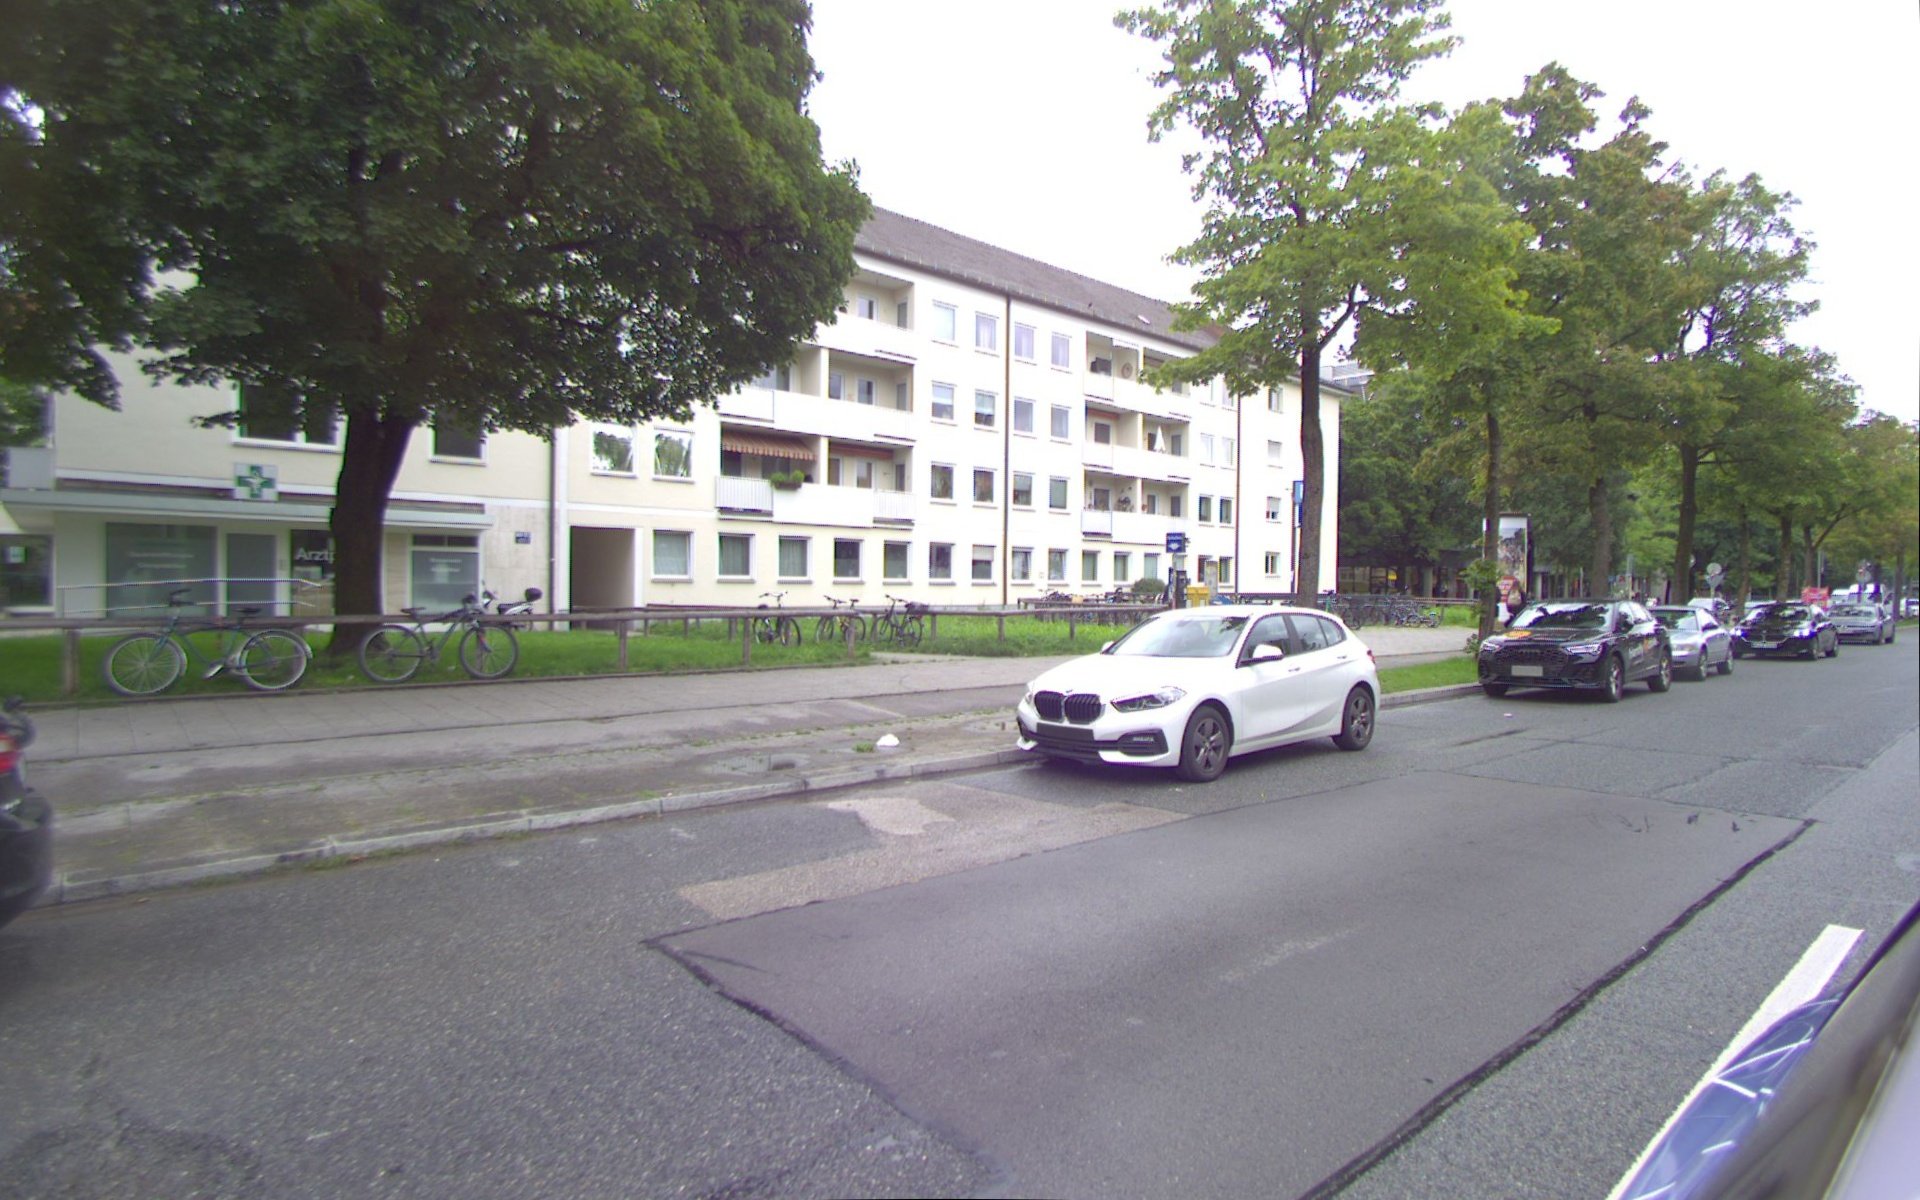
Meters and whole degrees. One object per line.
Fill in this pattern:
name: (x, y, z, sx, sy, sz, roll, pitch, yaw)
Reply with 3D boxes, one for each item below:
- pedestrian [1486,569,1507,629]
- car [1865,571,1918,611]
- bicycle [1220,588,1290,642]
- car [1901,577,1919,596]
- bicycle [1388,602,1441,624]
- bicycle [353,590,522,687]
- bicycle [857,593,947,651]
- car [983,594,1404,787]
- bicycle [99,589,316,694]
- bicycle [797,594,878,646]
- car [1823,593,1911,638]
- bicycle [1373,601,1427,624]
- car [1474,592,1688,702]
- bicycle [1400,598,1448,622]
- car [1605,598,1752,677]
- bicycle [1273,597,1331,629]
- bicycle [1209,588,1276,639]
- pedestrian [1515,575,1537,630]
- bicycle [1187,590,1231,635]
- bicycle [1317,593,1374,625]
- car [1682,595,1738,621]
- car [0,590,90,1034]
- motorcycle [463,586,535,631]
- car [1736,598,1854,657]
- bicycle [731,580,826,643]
pedestrian: (16.177, -0.042, 30.504, 0.555, 1.778, 0.651, 1, 0, 29)
car: (60.835, -0.614, 66.059, 4.912, 2.485, 1.997, -1, 0, -41)
bicycle: (6.905, 0.324, 23.616, 2.039, 1.203, 0.545, 0, 1, -41)
car: (125.513, -1.803, 133.273, 4.915, 2.485, 1.996, 0, 1, -43)
bicycle: (15.561, 0.442, 34.701, 0.490, 0.704, 1.595, 0, 1, -45)
bicycle: (-6.197, 0.426, 12.066, 1.738, 1.068, 0.470, -1, 0, -42)
bicycle: (-1.191, 0.418, 20.456, 0.653, 1.081, 2.027, 0, 1, -45)
car: (2.391, 0.694, 9.748, 4.212, 1.455, 1.824, 0, -1, -41)
bicycle: (-7.935, 0.401, 10.738, 1.820, 1.028, 0.448, 0, 1, -41)
bicycle: (-2.710, 0.414, 22.228, 0.653, 1.081, 2.027, 0, 1, -45)
car: (32.201, 0.511, 35.888, 4.225, 1.487, 1.825, 0, 1, -41)
bicycle: (14.868, 0.421, 34.201, 0.490, 0.645, 1.596, 0, 4, -45)
car: (9.996, 0.638, 16.165, 4.086, 1.530, 1.824, 0, 1, -42)
bicycle: (16.115, 0.334, 35.160, 0.490, 0.722, 1.389, 0, 3, -45)
car: (14.306, 0.666, 20.083, 3.860, 1.397, 1.615, 0, 1, -43)
bicycle: (10.270, 0.380, 30.406, 0.490, 0.927, 1.595, 0, 1, -45)
bicycle: (6.952, 0.311, 24.866, 2.039, 1.203, 0.545, 0, 1, -41)
pedestrian: (16.787, 0.076, 30.045, 0.555, 1.625, 0.515, 1, 0, 30)
bicycle: (6.416, 0.300, 26.023, 1.231, 1.130, 0.466, 0, 0, -41)
bicycle: (12.189, 0.283, 32.009, 0.490, 0.927, 1.596, 0, 2, -45)
car: (45.377, 0.440, 61.203, 4.225, 1.487, 1.825, 0, 1, -41)
car: (-5.062, 0.703, 2.893, 3.887, 1.496, 1.646, 0, 0, -42)
motorcycle: (-11.929, 0.208, 26.229, 1.593, 1.134, 0.606, 0, 1, -41)
car: (21.939, 0.652, 26.533, 4.227, 1.397, 1.824, 0, 1, -43)
bicycle: (-3.307, 0.188, 18.335, 0.653, 1.081, 2.027, 0, 1, -45)
